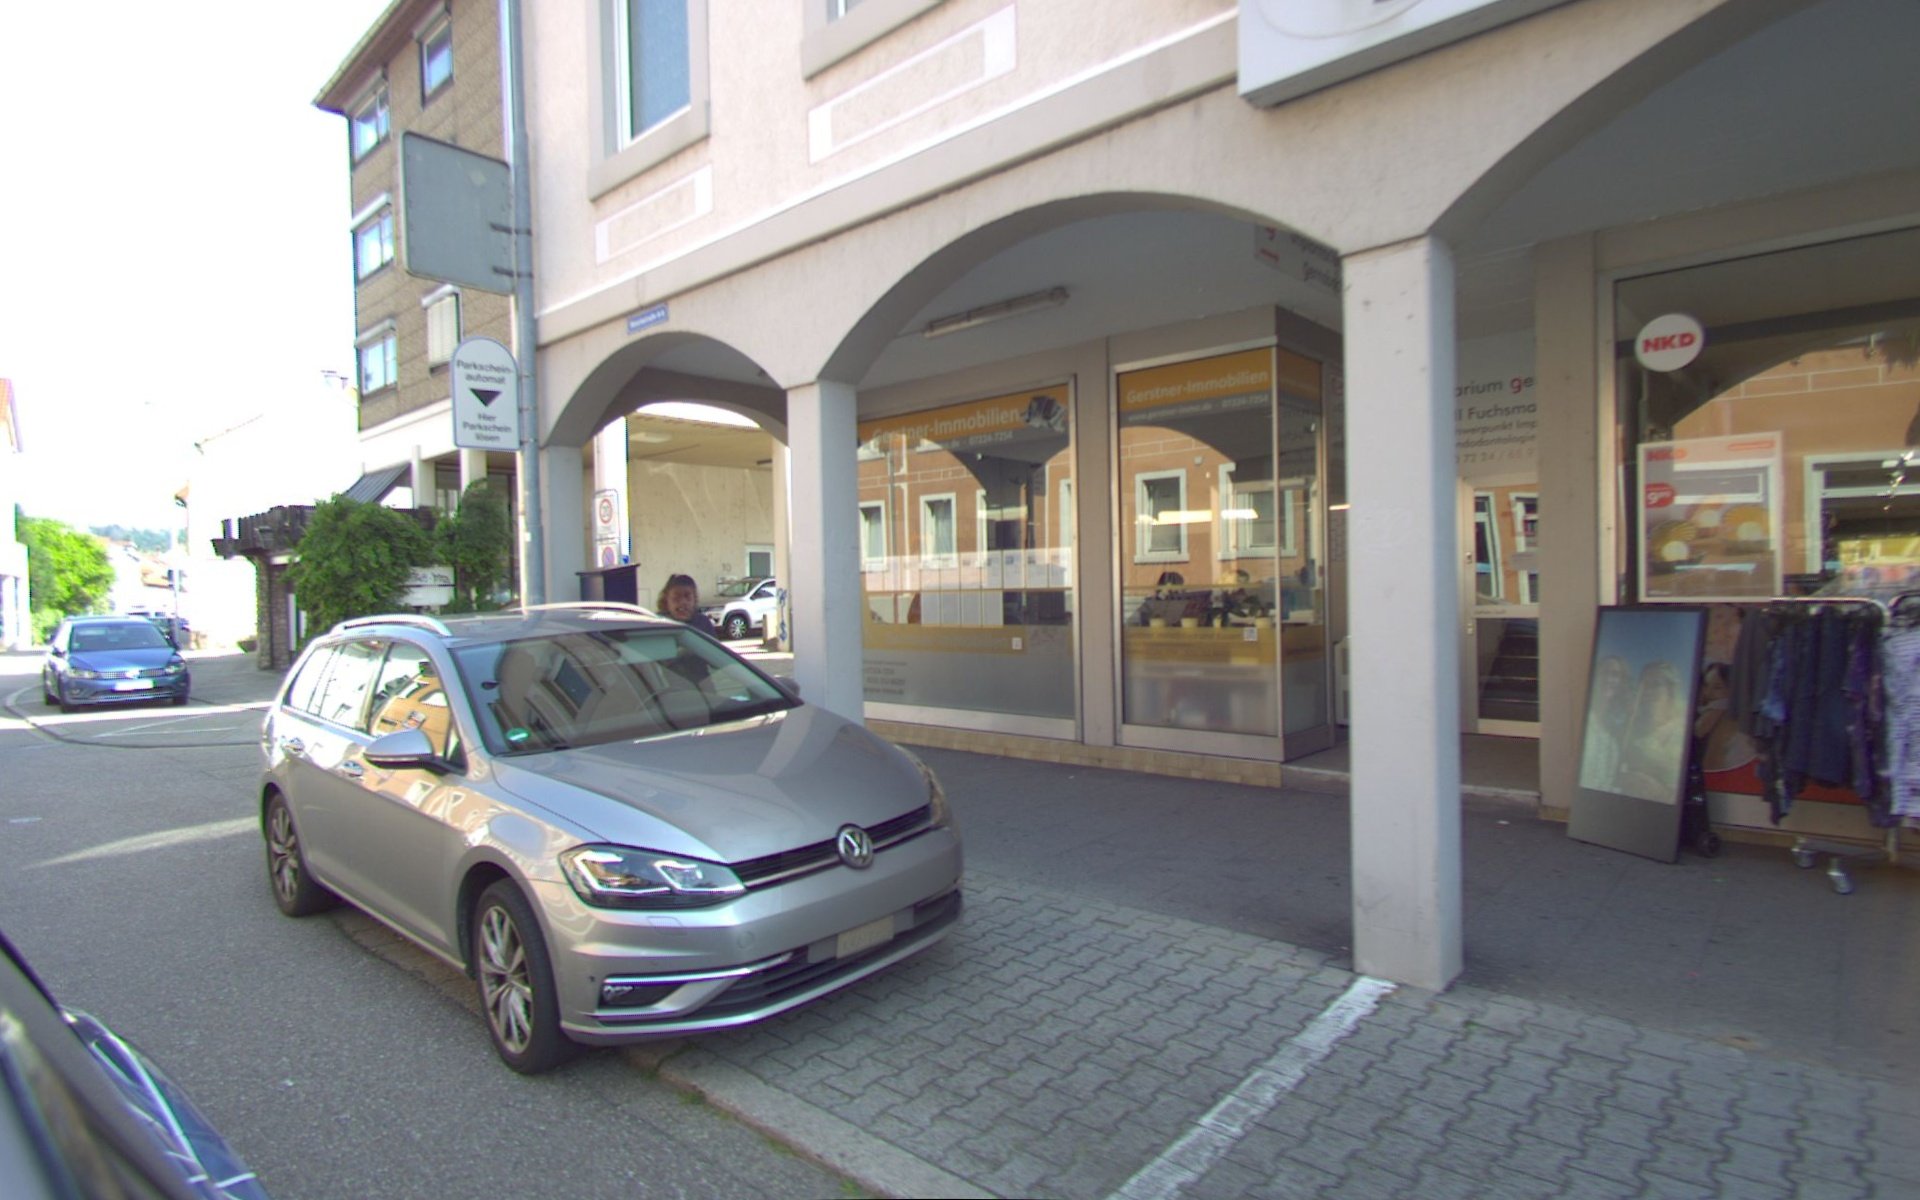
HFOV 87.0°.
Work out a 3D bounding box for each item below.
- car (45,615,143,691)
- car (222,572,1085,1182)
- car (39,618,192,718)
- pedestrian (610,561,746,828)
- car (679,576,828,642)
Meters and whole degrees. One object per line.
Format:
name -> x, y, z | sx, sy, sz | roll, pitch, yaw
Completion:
car -> -21.252, 1.254, 24.941 | 1.657, 1.681, 3.978 | -1, -1, -38
car -> -1.779, 0.710, 4.657 | 4.455, 1.481, 1.783 | -2, 0, 43
car -> -15.330, 1.147, 18.300 | 3.972, 1.572, 1.745 | -2, -1, 44
pedestrian -> -1.770, 0.554, 6.343 | 0.623, 1.563, 0.527 | -2, 0, 42
car -> -5.136, 0.200, 25.352 | 3.210, 1.497, 1.696 | -2, 0, -42
